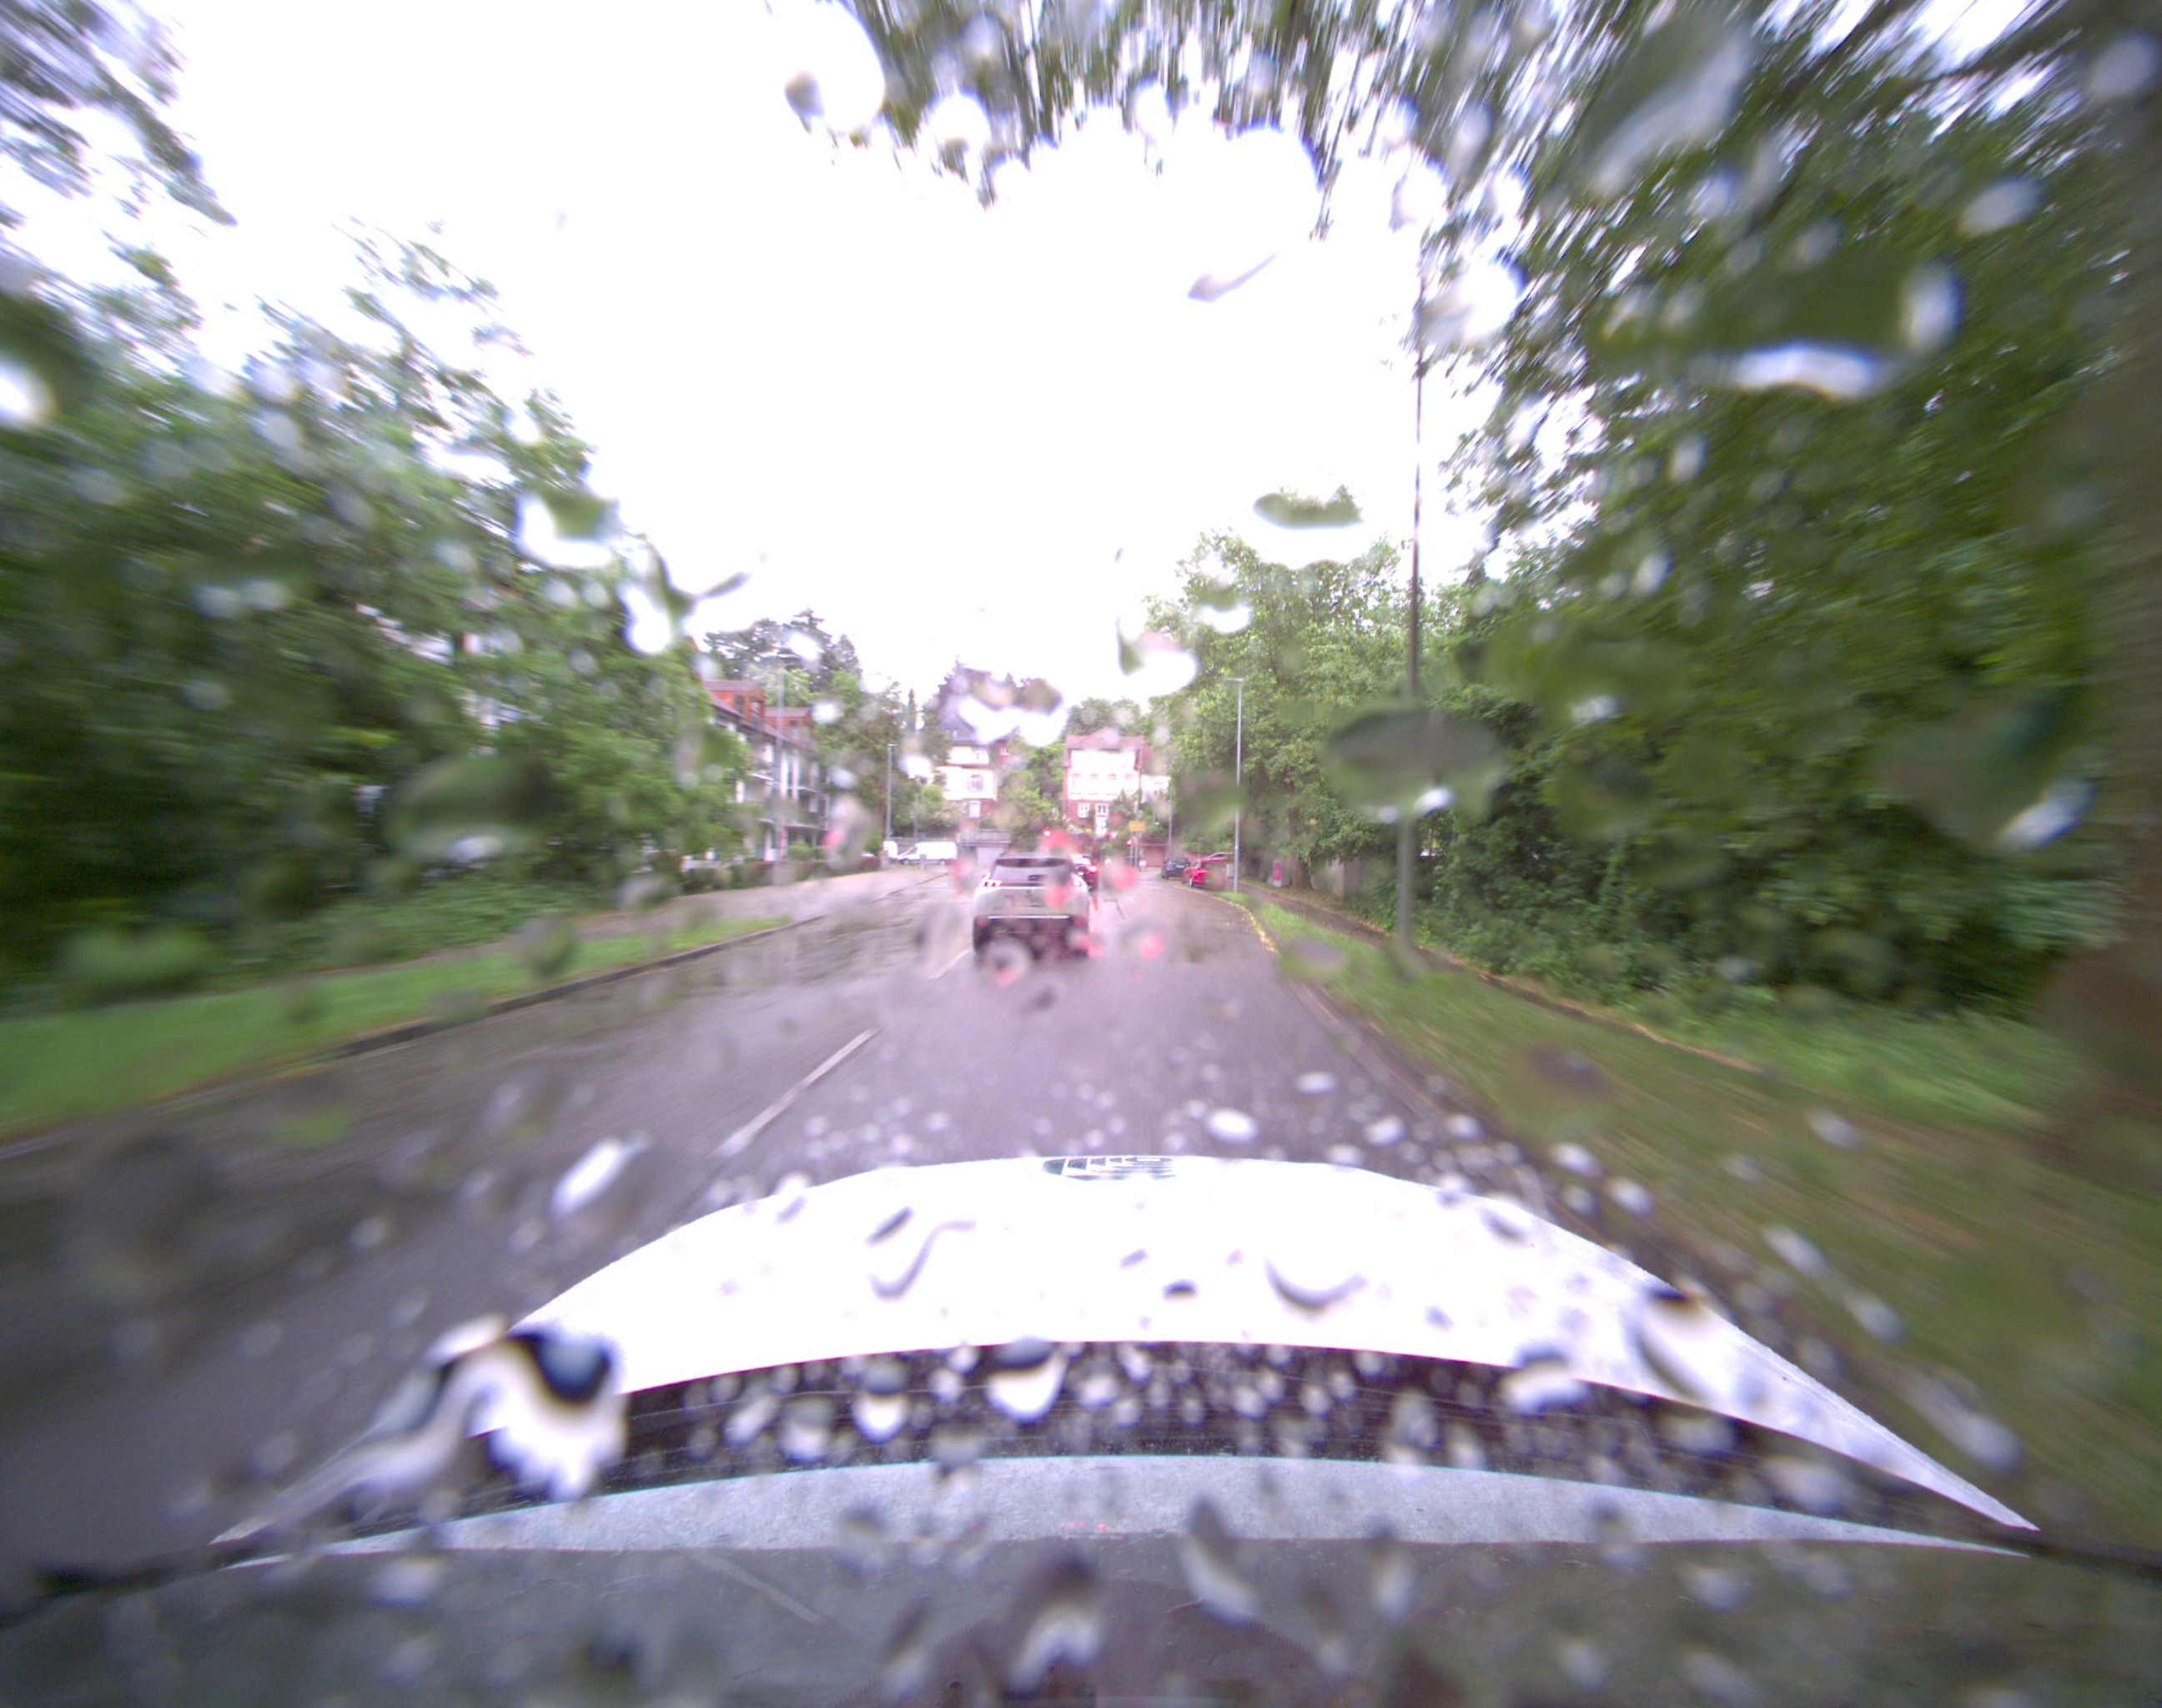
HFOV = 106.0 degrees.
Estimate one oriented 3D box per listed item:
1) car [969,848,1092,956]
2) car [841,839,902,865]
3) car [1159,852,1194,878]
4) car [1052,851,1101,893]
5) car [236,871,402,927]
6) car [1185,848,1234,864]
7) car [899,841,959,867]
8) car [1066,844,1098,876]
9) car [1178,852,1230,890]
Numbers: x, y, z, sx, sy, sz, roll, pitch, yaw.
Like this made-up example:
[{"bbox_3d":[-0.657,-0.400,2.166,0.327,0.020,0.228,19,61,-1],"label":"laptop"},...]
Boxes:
[{"bbox_3d":[-0.709,0.677,13.803,1.747,1.536,4.367,0,0,0],"label":"car"},{"bbox_3d":[-21.656,-0.172,84.290,5.542,2.494,2.316,2,-1,1],"label":"car"},{"bbox_3d":[6.025,0.687,51.563,1.744,1.491,3.599,4,0,0],"label":"car"},{"bbox_3d":[-0.155,0.687,33.911,1.826,1.456,4.659,4,1,0],"label":"car"},{"bbox_3d":[-24.270,1.419,26.036,3.540,1.486,1.723,-4,-1,-2],"label":"car"},{"bbox_3d":[12.507,0.202,79.682,4.551,1.601,1.775,0,-1,1],"label":"car"},{"bbox_3d":[-15.660,-0.007,84.078,5.640,2.494,2.316,2,-1,1],"label":"car"},{"bbox_3d":[0.008,0.288,47.823,1.755,1.711,4.598,2,1,-1],"label":"car"},{"bbox_3d":[6.301,0.853,42.022,1.815,1.517,3.740,8,1,-2],"label":"car"}]
